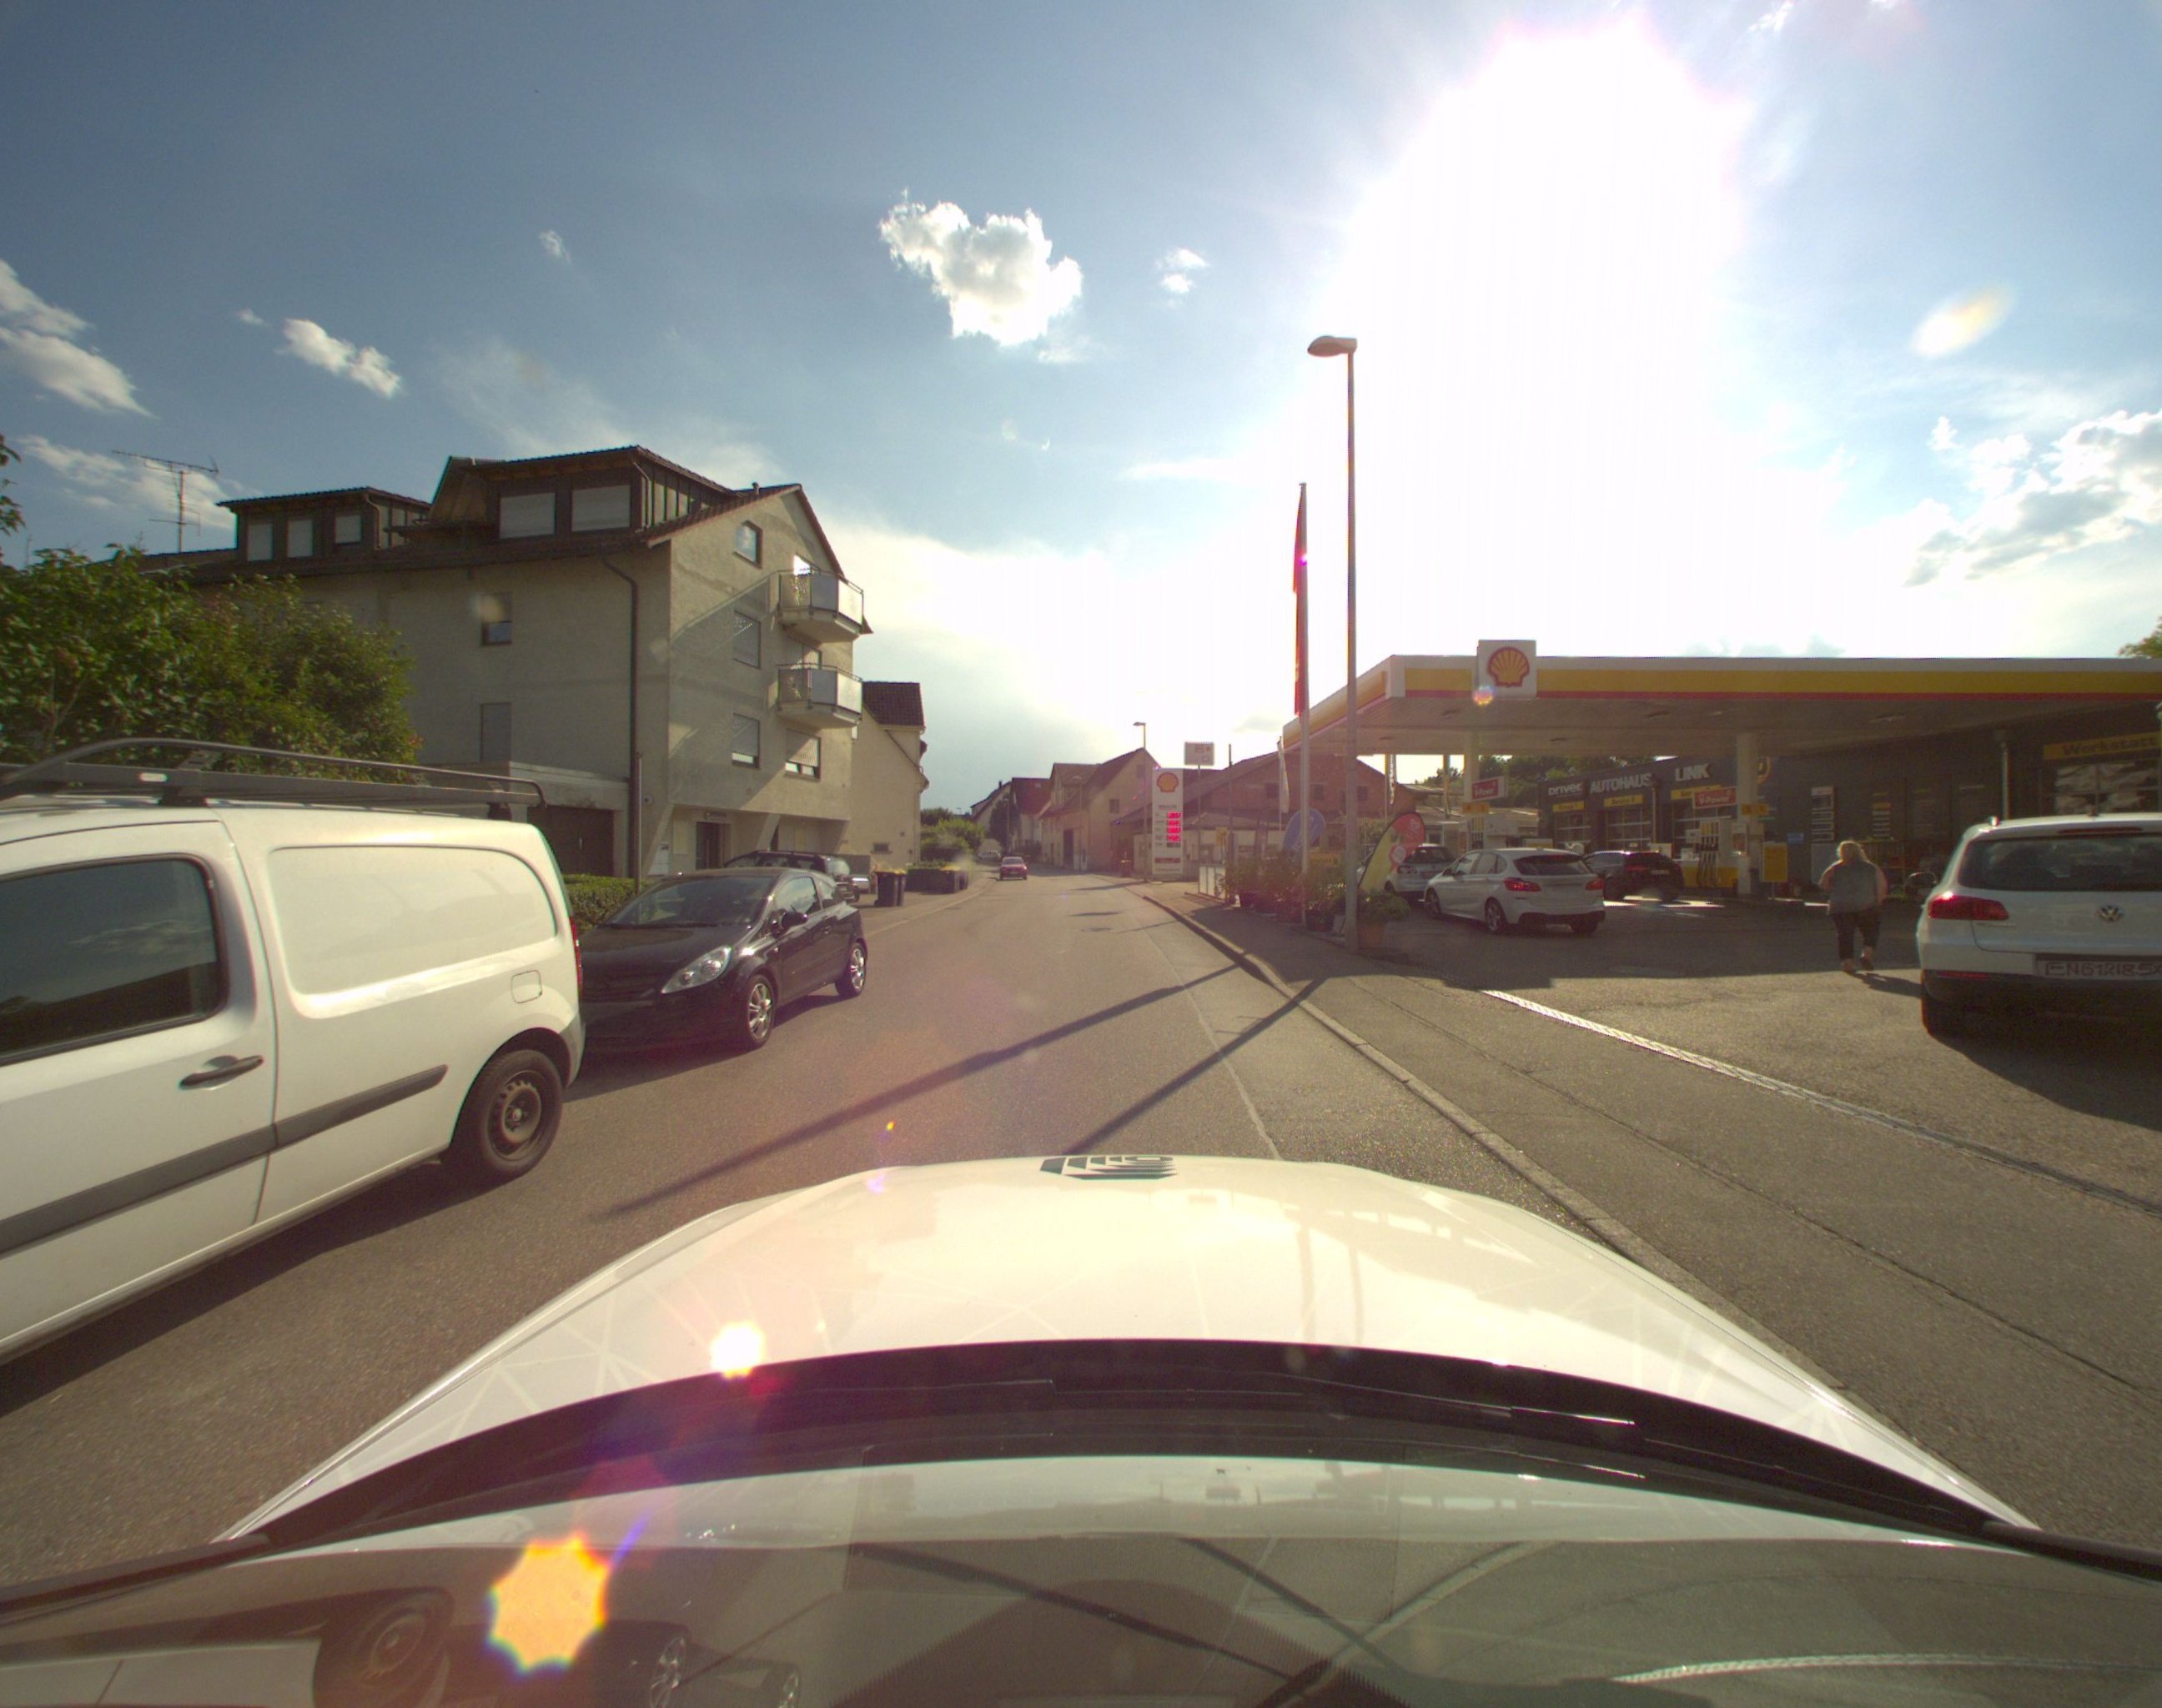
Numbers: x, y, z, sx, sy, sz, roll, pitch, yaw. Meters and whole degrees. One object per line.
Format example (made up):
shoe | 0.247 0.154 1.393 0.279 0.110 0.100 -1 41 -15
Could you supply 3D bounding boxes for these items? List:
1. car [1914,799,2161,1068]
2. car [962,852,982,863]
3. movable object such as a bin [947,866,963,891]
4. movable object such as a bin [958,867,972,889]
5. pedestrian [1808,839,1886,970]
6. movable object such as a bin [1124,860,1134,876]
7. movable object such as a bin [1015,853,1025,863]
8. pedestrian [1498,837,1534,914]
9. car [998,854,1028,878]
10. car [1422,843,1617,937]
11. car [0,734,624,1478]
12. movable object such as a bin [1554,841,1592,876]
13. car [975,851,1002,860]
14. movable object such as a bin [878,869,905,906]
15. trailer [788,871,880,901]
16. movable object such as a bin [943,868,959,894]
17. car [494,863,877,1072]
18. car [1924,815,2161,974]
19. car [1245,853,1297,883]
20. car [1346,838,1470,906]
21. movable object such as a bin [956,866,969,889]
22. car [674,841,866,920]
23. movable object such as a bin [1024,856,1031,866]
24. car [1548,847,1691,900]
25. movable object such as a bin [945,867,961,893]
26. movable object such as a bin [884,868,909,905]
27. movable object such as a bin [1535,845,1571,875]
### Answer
car | 8.086 0.459 6.600 4.100 1.674 1.657 -2 -1 -42
car | -15.005 0.469 112.169 1.713 1.578 3.969 0 0 -24
movable object such as a bin | -5.670 1.108 36.739 0.586 1.122 0.617 -2 0 0
movable object such as a bin | -5.390 1.104 37.814 0.530 1.022 0.457 -2 0 0
pedestrian | 8.941 0.567 9.511 0.433 1.479 0.618 0 -1 -42
movable object such as a bin | 3.092 0.894 52.512 0.651 1.073 0.512 0 0 -3
movable object such as a bin | -7.560 0.492 101.304 1.161 1.168 0.652 0 0 -12
pedestrian | 9.571 0.463 17.913 0.499 1.670 0.534 0 -1 0
car | -4.456 0.765 52.846 1.708 1.435 3.769 -2 0 -8
car | 8.300 0.598 15.849 1.666 1.577 3.999 -1 0 0
car | -3.570 0.653 2.609 1.710 1.872 4.193 -1 0 2
movable object such as a bin | 21.827 0.213 36.161 0.985 1.530 1.209 0 0 -1
car | -13.785 0.240 121.768 3.985 1.352 1.705 0 0 -9
movable object such as a bin | -5.614 0.985 24.119 0.597 1.071 0.619 3 0 0
trailer | -7.750 1.026 25.793 1.319 0.855 2.904 2 -2 18
movable object such as a bin | -5.656 1.172 35.467 0.586 1.084 0.508 -2 0 0
car | -3.322 0.835 7.767 1.666 1.451 3.836 -1 0 2
car | 11.921 0.432 10.238 3.707 1.633 1.657 0 -2 -42
car | 9.639 0.689 41.581 1.573 1.427 4.379 1 0 -1
car | 8.401 0.423 21.283 1.666 1.577 3.999 -1 0 0
movable object such as a bin | -5.426 1.091 37.326 0.530 1.022 0.457 -2 0 0
car | -7.568 0.604 19.964 3.961 1.538 1.768 4 1 12
movable object such as a bin | -6.002 0.819 91.542 0.654 1.073 0.510 0 0 -16
car | 15.513 0.576 23.732 1.532 1.400 3.998 -1 -2 0
movable object such as a bin | -5.656 1.145 36.118 0.586 1.084 0.529 -2 0 0
movable object such as a bin | -5.598 0.983 24.744 0.568 1.071 0.557 3 0 0
movable object such as a bin | 21.887 0.264 37.788 0.986 1.375 1.126 0 0 -6
